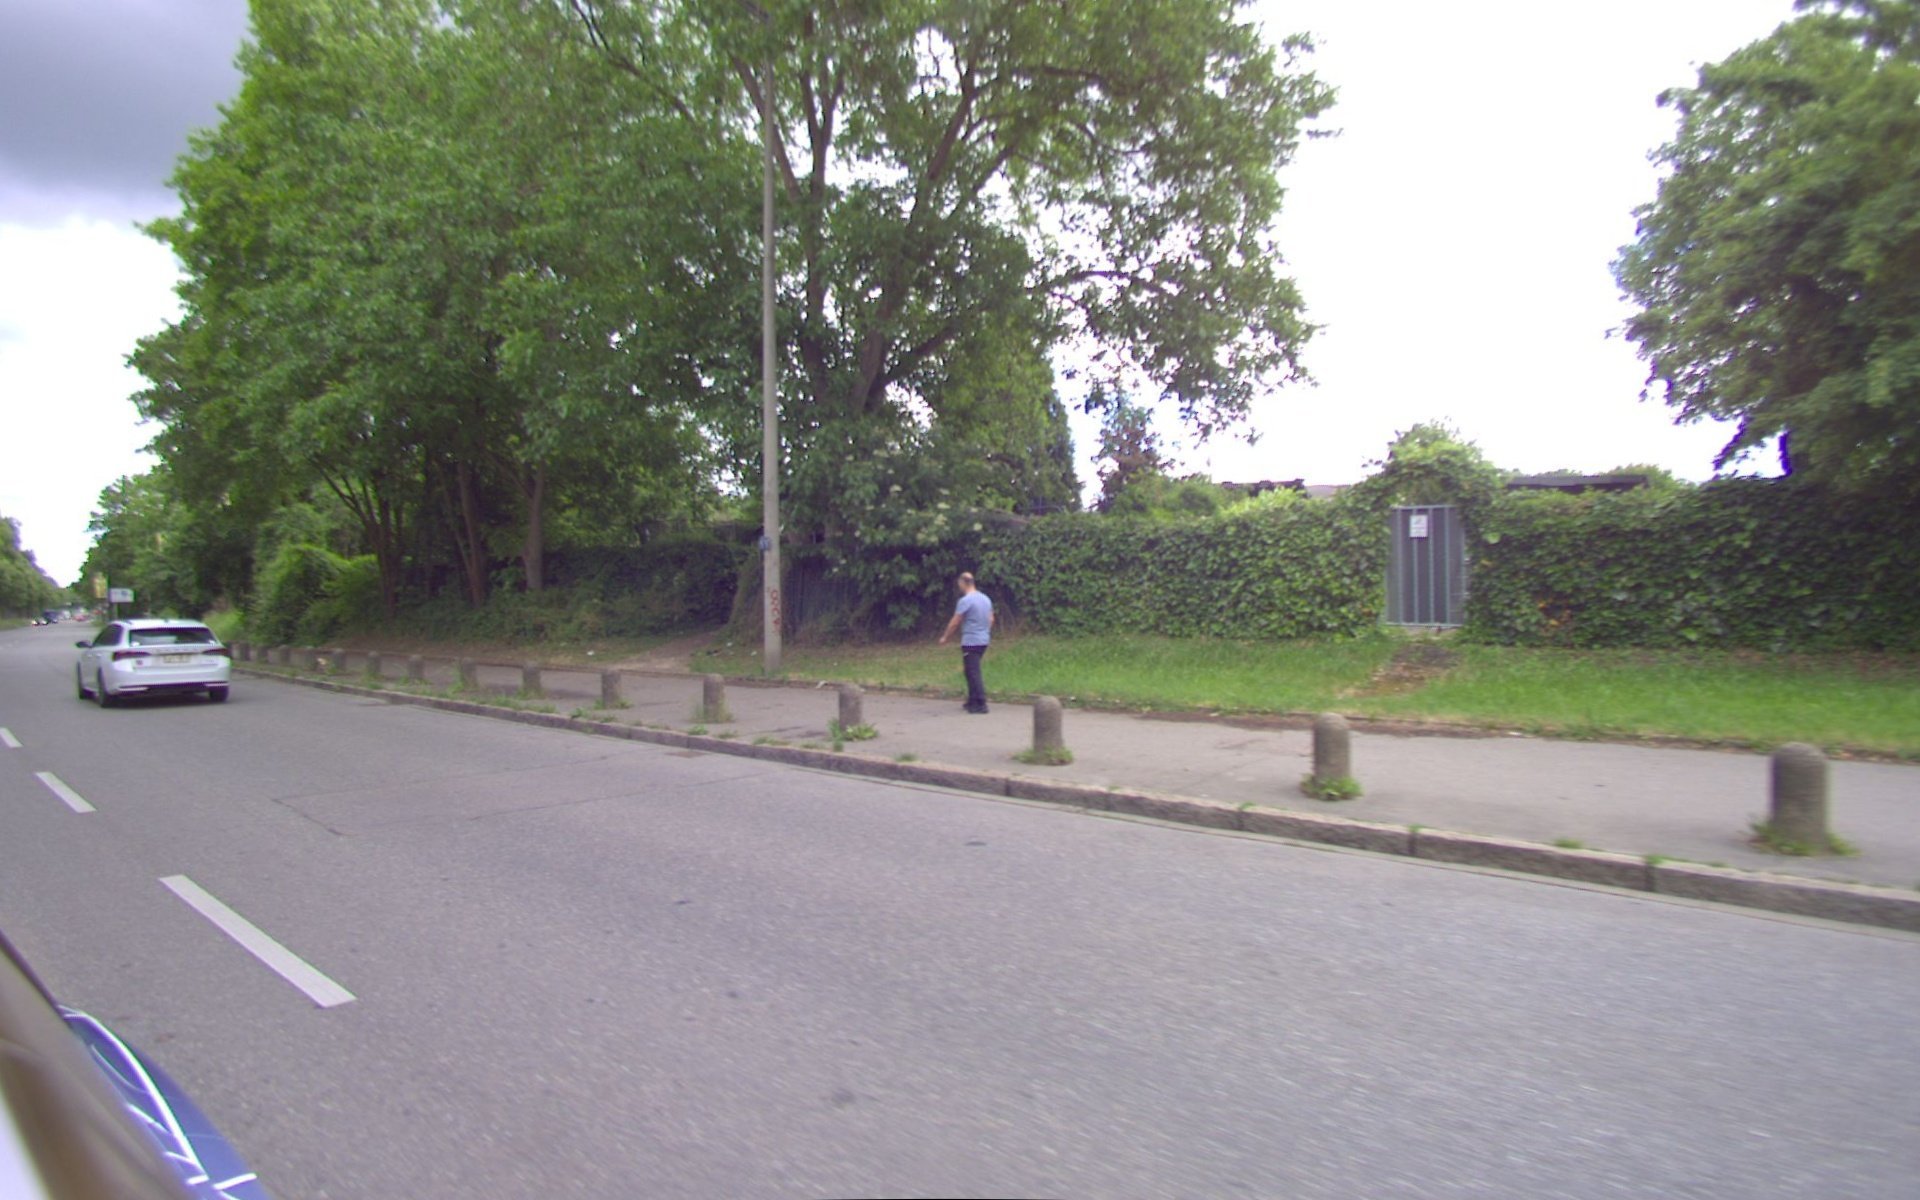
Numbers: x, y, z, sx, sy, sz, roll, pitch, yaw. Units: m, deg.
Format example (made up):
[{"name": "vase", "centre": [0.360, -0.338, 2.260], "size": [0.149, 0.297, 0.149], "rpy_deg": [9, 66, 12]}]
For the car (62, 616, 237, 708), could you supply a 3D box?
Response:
[{"name": "car", "centre": [-14.577, 1.031, 18.116], "size": [4.360, 1.450, 1.754], "rpy_deg": [-1, -1, 42]}]

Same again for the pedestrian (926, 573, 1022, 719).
[{"name": "pedestrian", "centre": [0.169, 0.521, 12.002], "size": [0.838, 1.646, 0.682], "rpy_deg": [-1, 1, 43]}]
